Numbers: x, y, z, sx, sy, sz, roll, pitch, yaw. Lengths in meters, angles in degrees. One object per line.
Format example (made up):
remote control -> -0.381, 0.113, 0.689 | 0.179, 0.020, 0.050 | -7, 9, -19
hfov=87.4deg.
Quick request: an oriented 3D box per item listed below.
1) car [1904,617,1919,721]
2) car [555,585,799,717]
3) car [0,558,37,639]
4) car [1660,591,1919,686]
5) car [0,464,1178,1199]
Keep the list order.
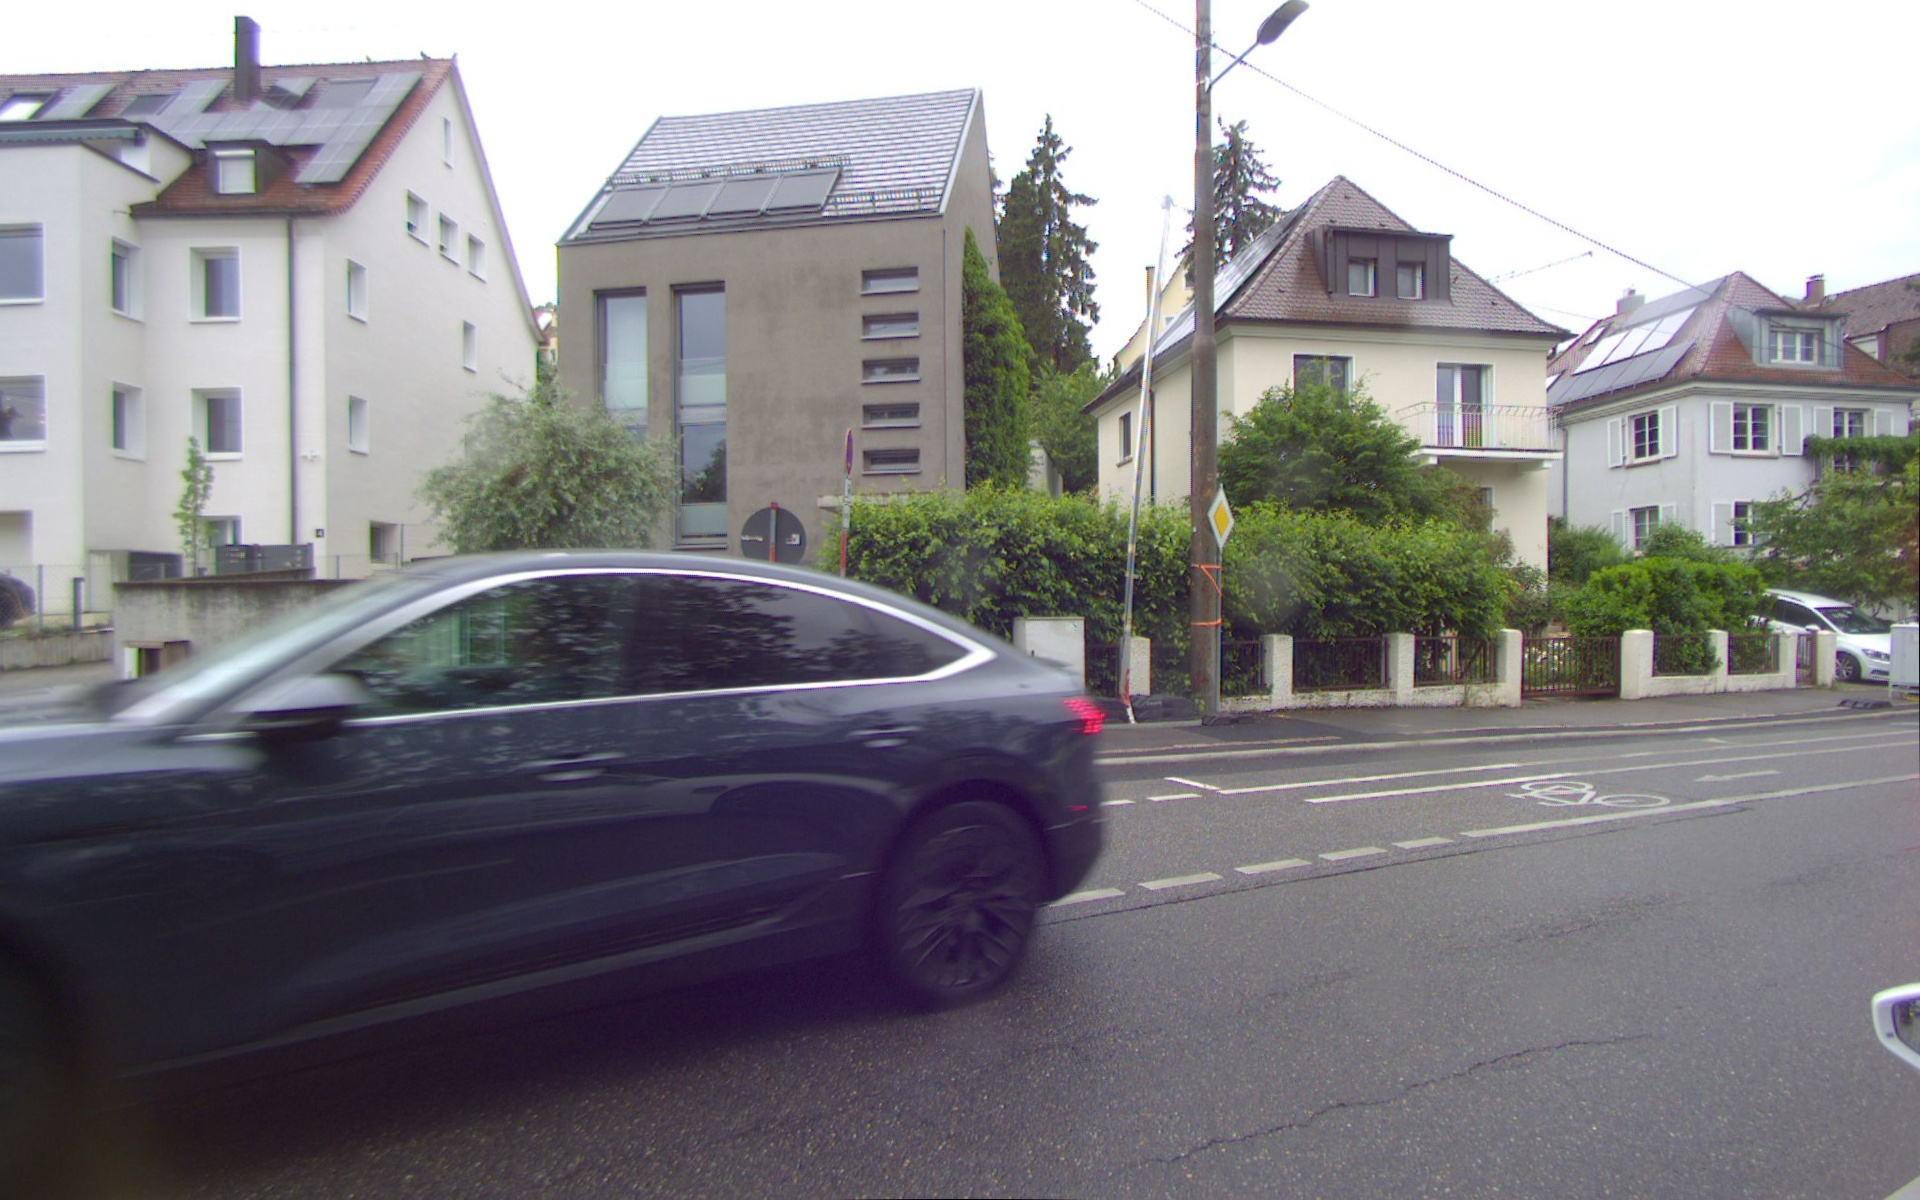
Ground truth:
car -> 15.708, 1.019, 14.511 | 3.834, 1.483, 1.758 | 1, 0, -26
car -> -3.600, 0.567, 13.580 | 1.740, 1.506, 4.002 | 0, 1, 7
car -> -16.723, 0.056, 15.173 | 1.576, 1.298, 4.008 | 2, 4, 6
car -> 19.604, 0.820, 23.917 | 1.870, 2.033, 4.628 | 1, 0, -18
car -> -1.567, 0.573, 3.698 | 4.640, 1.696, 1.981 | 1, 0, -34
